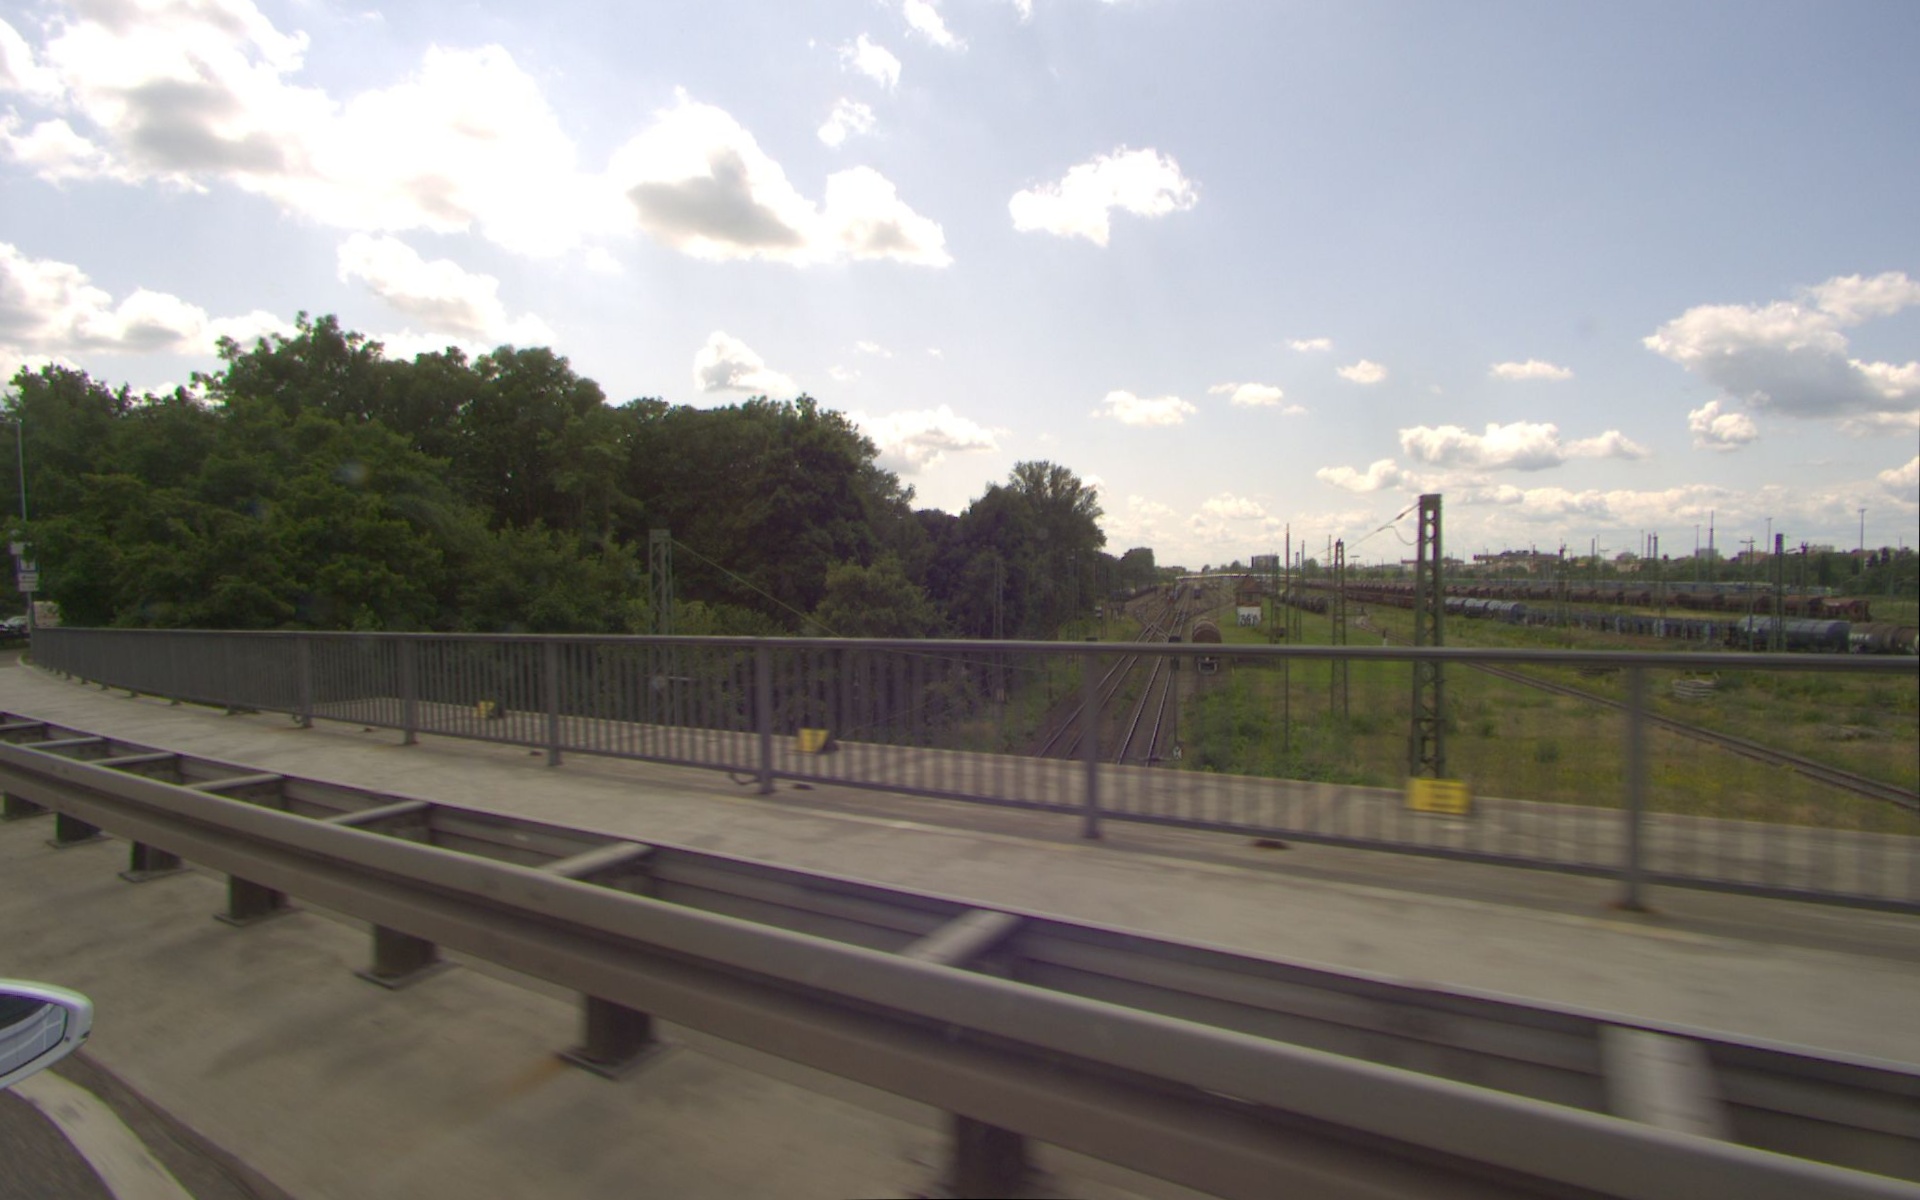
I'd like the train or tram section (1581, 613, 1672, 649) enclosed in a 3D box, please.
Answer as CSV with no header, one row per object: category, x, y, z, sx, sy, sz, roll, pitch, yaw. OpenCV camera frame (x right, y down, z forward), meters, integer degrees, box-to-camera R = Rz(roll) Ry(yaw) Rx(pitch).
train or tram section,93.186,4.216,140.573,3.151,4.207,15.960,-3,0,4

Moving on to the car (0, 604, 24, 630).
car,-52.618,0.930,54.300,1.662,1.416,3.665,0,-1,-25

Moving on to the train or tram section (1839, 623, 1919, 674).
train or tram section,89.303,4.603,92.578,3.151,4.207,15.959,-3,0,5

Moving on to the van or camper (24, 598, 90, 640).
van or camper,-58.755,1.218,65.260,1.968,2.624,4.075,1,-1,-24

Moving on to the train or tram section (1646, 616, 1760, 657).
train or tram section,92.005,4.334,124.570,3.151,4.207,15.961,-3,0,4

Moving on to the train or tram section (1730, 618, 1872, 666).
train or tram section,90.676,4.416,108.587,3.151,4.207,15.959,-3,0,5
